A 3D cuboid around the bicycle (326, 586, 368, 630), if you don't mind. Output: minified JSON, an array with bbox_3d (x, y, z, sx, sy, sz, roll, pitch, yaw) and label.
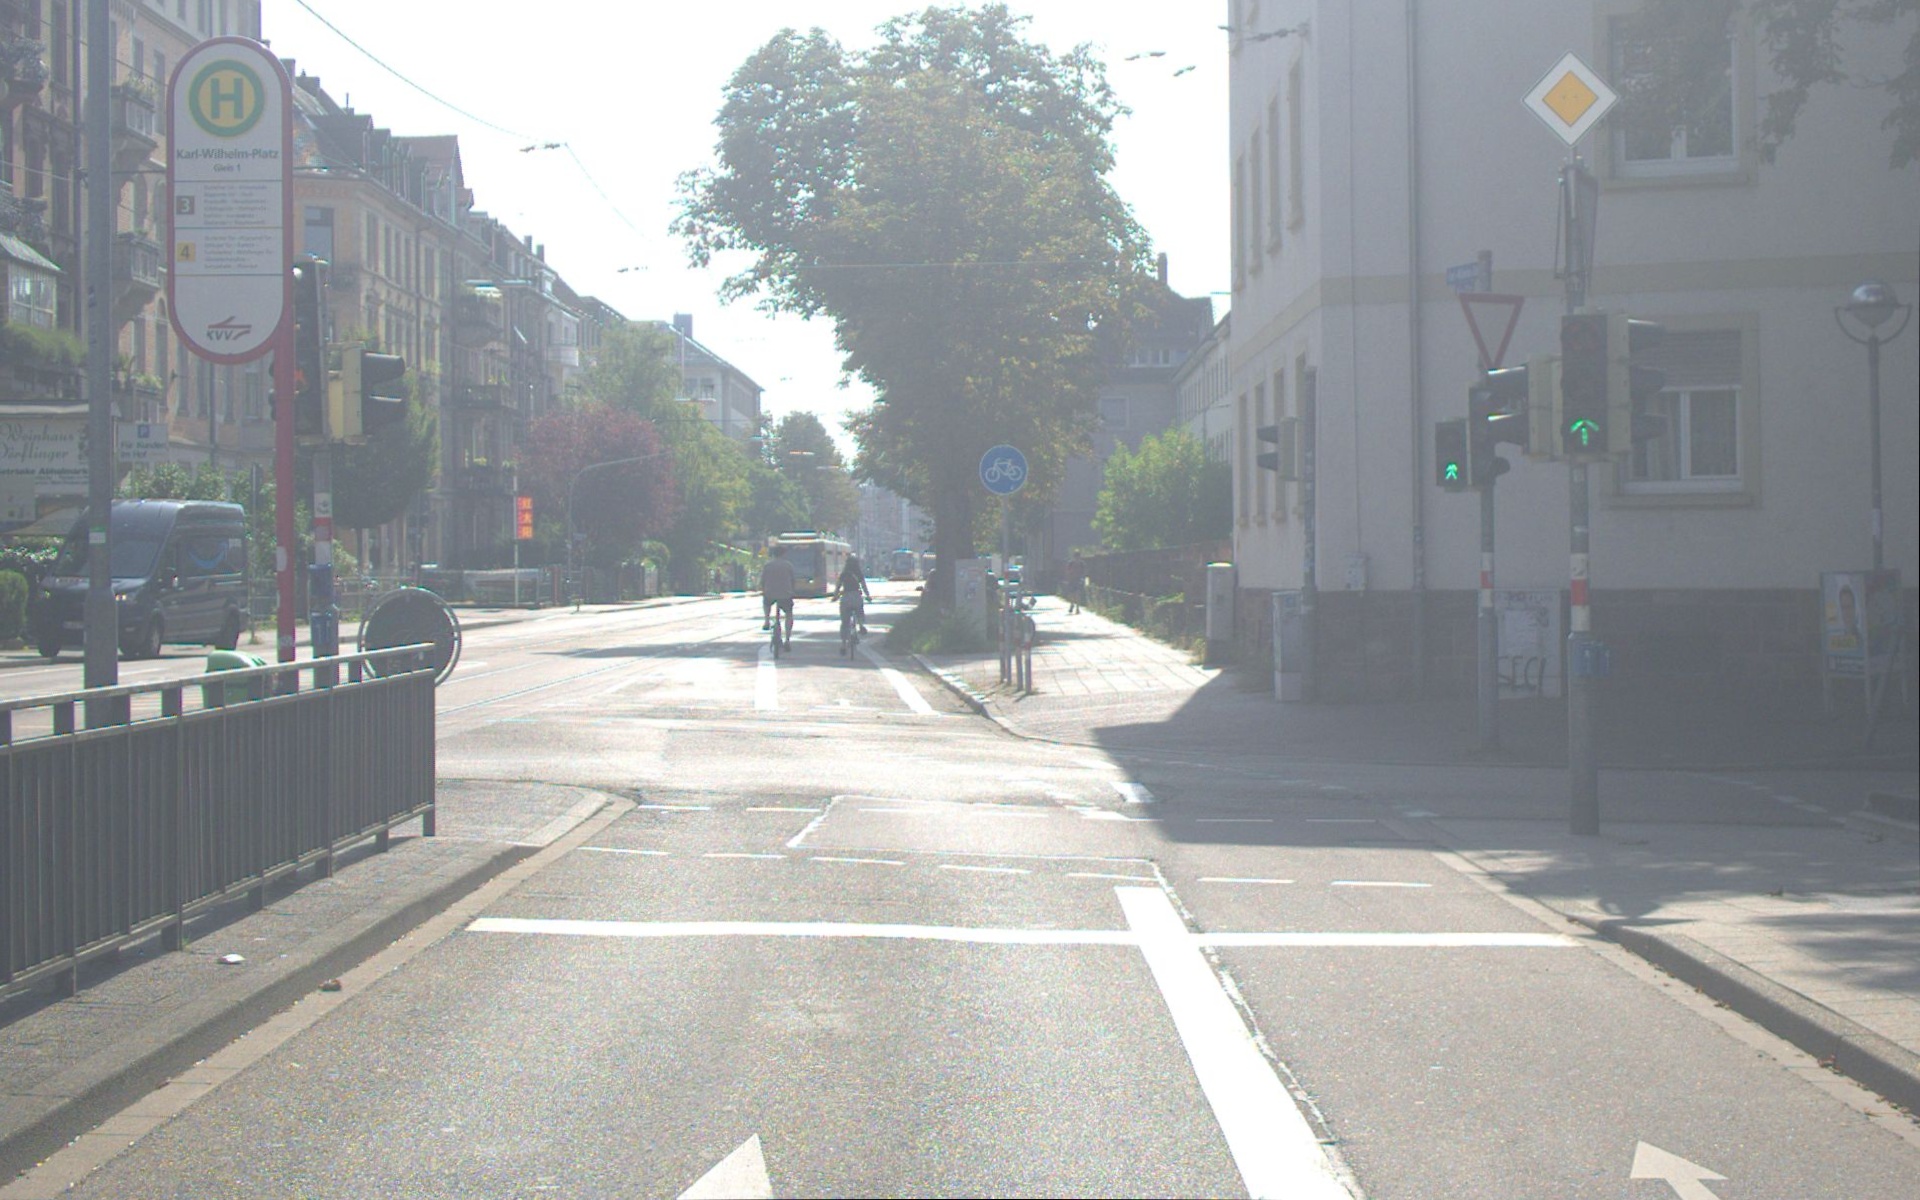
[{"bbox_3d":[-15.520,0.197,87.048,0.606,1.054,1.839,3,1,2],"label":"bicycle"}]

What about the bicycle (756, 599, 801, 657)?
[{"bbox_3d":[-2.916,0.440,55.301,0.626,0.906,1.525,1,0,0],"label":"bicycle"}]

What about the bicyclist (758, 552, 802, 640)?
[{"bbox_3d":[-2.897,-0.070,55.309,0.626,1.396,0.929,1,0,0],"label":"bicyclist"}]

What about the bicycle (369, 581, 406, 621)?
[{"bbox_3d":[-15.479,0.022,92.982,0.545,1.054,1.839,3,1,2],"label":"bicycle"}]

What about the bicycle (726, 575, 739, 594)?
[{"bbox_3d":[-14.335,-0.962,216.362,0.561,1.217,2.113,-1,0,2],"label":"bicycle"}]

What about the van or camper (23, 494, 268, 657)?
[{"bbox_3d":[-13.916,-0.402,59.191,2.051,2.635,6.088,-1,0,7],"label":"van or camper"}]

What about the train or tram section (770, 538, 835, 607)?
[{"bbox_3d":[-8.200,-1.442,180.599,2.734,3.494,15.433,0,0,0],"label":"train or tram section"}]

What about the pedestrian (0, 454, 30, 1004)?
[{"bbox_3d":[-3.416,0.414,10.939,0.689,1.760,0.796,0,1,-1],"label":"pedestrian"}]

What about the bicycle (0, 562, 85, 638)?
[{"bbox_3d":[-18.366,-0.008,66.099,2.874,1.450,0.998,1,0,-6],"label":"bicycle"}]

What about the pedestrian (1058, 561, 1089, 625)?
[{"bbox_3d":[3.125,-0.200,94.435,0.752,1.743,0.878,0,0,7],"label":"pedestrian"}]

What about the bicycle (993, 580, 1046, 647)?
[{"bbox_3d":[0.994,0.218,58.063,0.771,1.100,2.334,-1,1,-2],"label":"bicycle"}]

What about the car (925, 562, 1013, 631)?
[{"bbox_3d":[0.245,-0.090,81.813,1.645,1.535,3.841,-2,0,6],"label":"car"}]

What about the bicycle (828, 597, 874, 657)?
[{"bbox_3d":[-1.710,0.413,54.041,0.654,0.906,1.775,1,0,0],"label":"bicycle"}]

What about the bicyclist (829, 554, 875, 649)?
[{"bbox_3d":[-1.693,0.018,54.024,0.654,1.469,0.909,1,0,0],"label":"bicyclist"}]
